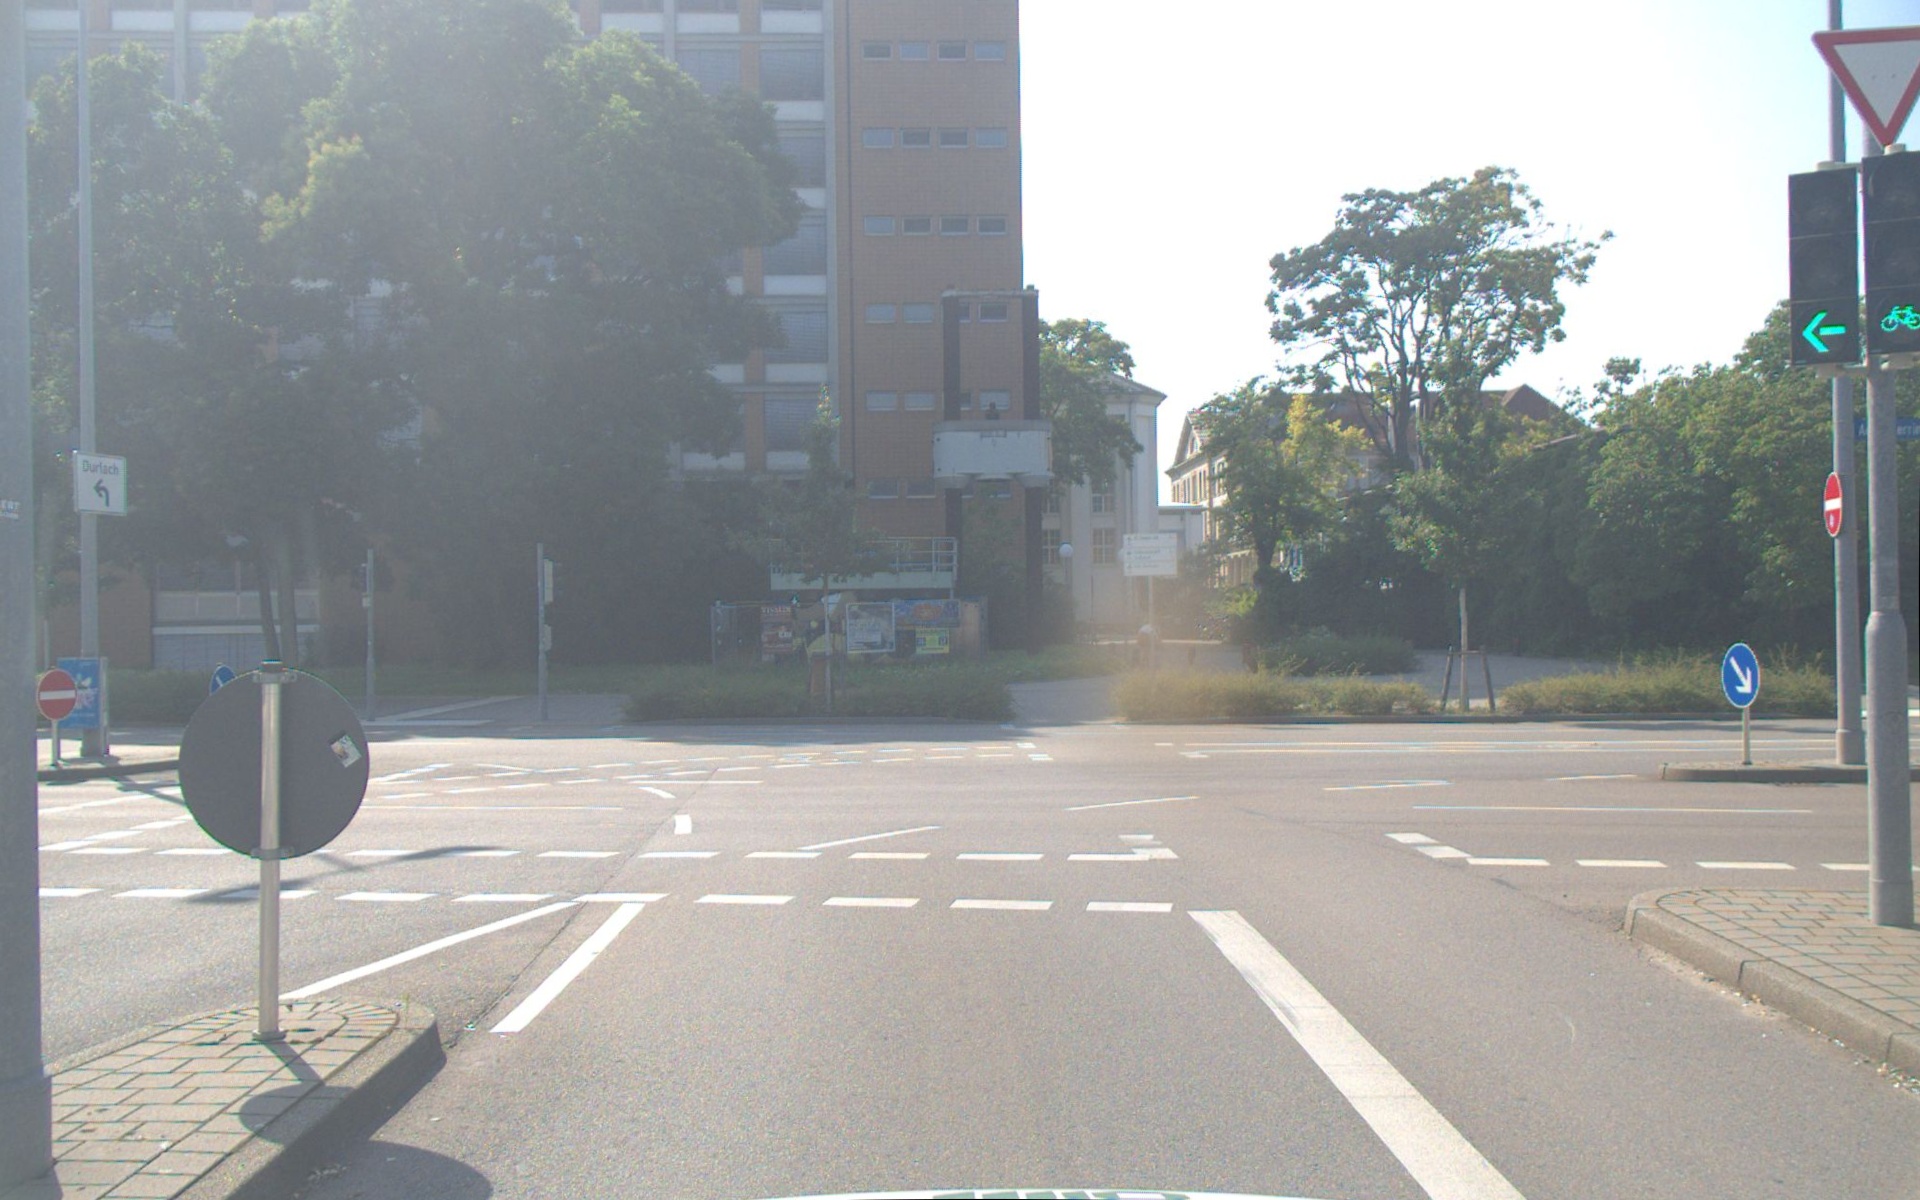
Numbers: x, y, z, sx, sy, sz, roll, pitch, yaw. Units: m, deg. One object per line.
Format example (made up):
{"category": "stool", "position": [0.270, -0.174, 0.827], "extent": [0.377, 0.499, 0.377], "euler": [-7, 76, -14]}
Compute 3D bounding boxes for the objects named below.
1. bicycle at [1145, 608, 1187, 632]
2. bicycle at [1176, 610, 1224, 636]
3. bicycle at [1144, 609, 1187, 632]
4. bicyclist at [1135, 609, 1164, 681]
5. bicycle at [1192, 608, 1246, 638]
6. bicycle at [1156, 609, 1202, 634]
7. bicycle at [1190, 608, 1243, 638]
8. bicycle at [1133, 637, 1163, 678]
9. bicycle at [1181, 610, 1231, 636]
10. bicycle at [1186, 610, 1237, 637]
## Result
{"category": "bicycle", "position": [11.887, 1.149, 95.384], "extent": [2.376, 1.303, 0.720], "euler": [1, -1, 3]}
{"category": "bicycle", "position": [12.152, 1.154, 83.738], "extent": [2.376, 1.261, 0.720], "euler": [1, -1, 3]}
{"category": "bicycle", "position": [11.744, 1.155, 94.554], "extent": [2.376, 1.285, 0.720], "euler": [1, -1, 3]}
{"category": "bicyclist", "position": [4.369, 1.032, 38.204], "extent": [0.636, 1.629, 0.920], "euler": [-1, -1, 6]}
{"category": "bicycle", "position": [11.899, 1.049, 75.993], "extent": [2.376, 1.341, 0.720], "euler": [1, -1, 3]}
{"category": "bicycle", "position": [11.594, 1.145, 87.555], "extent": [2.376, 1.304, 0.720], "euler": [1, -1, 3]}
{"category": "bicycle", "position": [11.947, 1.057, 77.128], "extent": [2.376, 1.341, 0.720], "euler": [1, -1, 3]}
{"category": "bicycle", "position": [4.339, 1.321, 38.087], "extent": [0.659, 0.895, 1.402], "euler": [-1, 0, 7]}
{"category": "bicycle", "position": [12.316, 1.163, 82.796], "extent": [2.376, 1.256, 0.720], "euler": [1, -1, 3]}
{"category": "bicycle", "position": [12.110, 1.134, 79.667], "extent": [2.376, 1.245, 0.720], "euler": [1, -1, 3]}
